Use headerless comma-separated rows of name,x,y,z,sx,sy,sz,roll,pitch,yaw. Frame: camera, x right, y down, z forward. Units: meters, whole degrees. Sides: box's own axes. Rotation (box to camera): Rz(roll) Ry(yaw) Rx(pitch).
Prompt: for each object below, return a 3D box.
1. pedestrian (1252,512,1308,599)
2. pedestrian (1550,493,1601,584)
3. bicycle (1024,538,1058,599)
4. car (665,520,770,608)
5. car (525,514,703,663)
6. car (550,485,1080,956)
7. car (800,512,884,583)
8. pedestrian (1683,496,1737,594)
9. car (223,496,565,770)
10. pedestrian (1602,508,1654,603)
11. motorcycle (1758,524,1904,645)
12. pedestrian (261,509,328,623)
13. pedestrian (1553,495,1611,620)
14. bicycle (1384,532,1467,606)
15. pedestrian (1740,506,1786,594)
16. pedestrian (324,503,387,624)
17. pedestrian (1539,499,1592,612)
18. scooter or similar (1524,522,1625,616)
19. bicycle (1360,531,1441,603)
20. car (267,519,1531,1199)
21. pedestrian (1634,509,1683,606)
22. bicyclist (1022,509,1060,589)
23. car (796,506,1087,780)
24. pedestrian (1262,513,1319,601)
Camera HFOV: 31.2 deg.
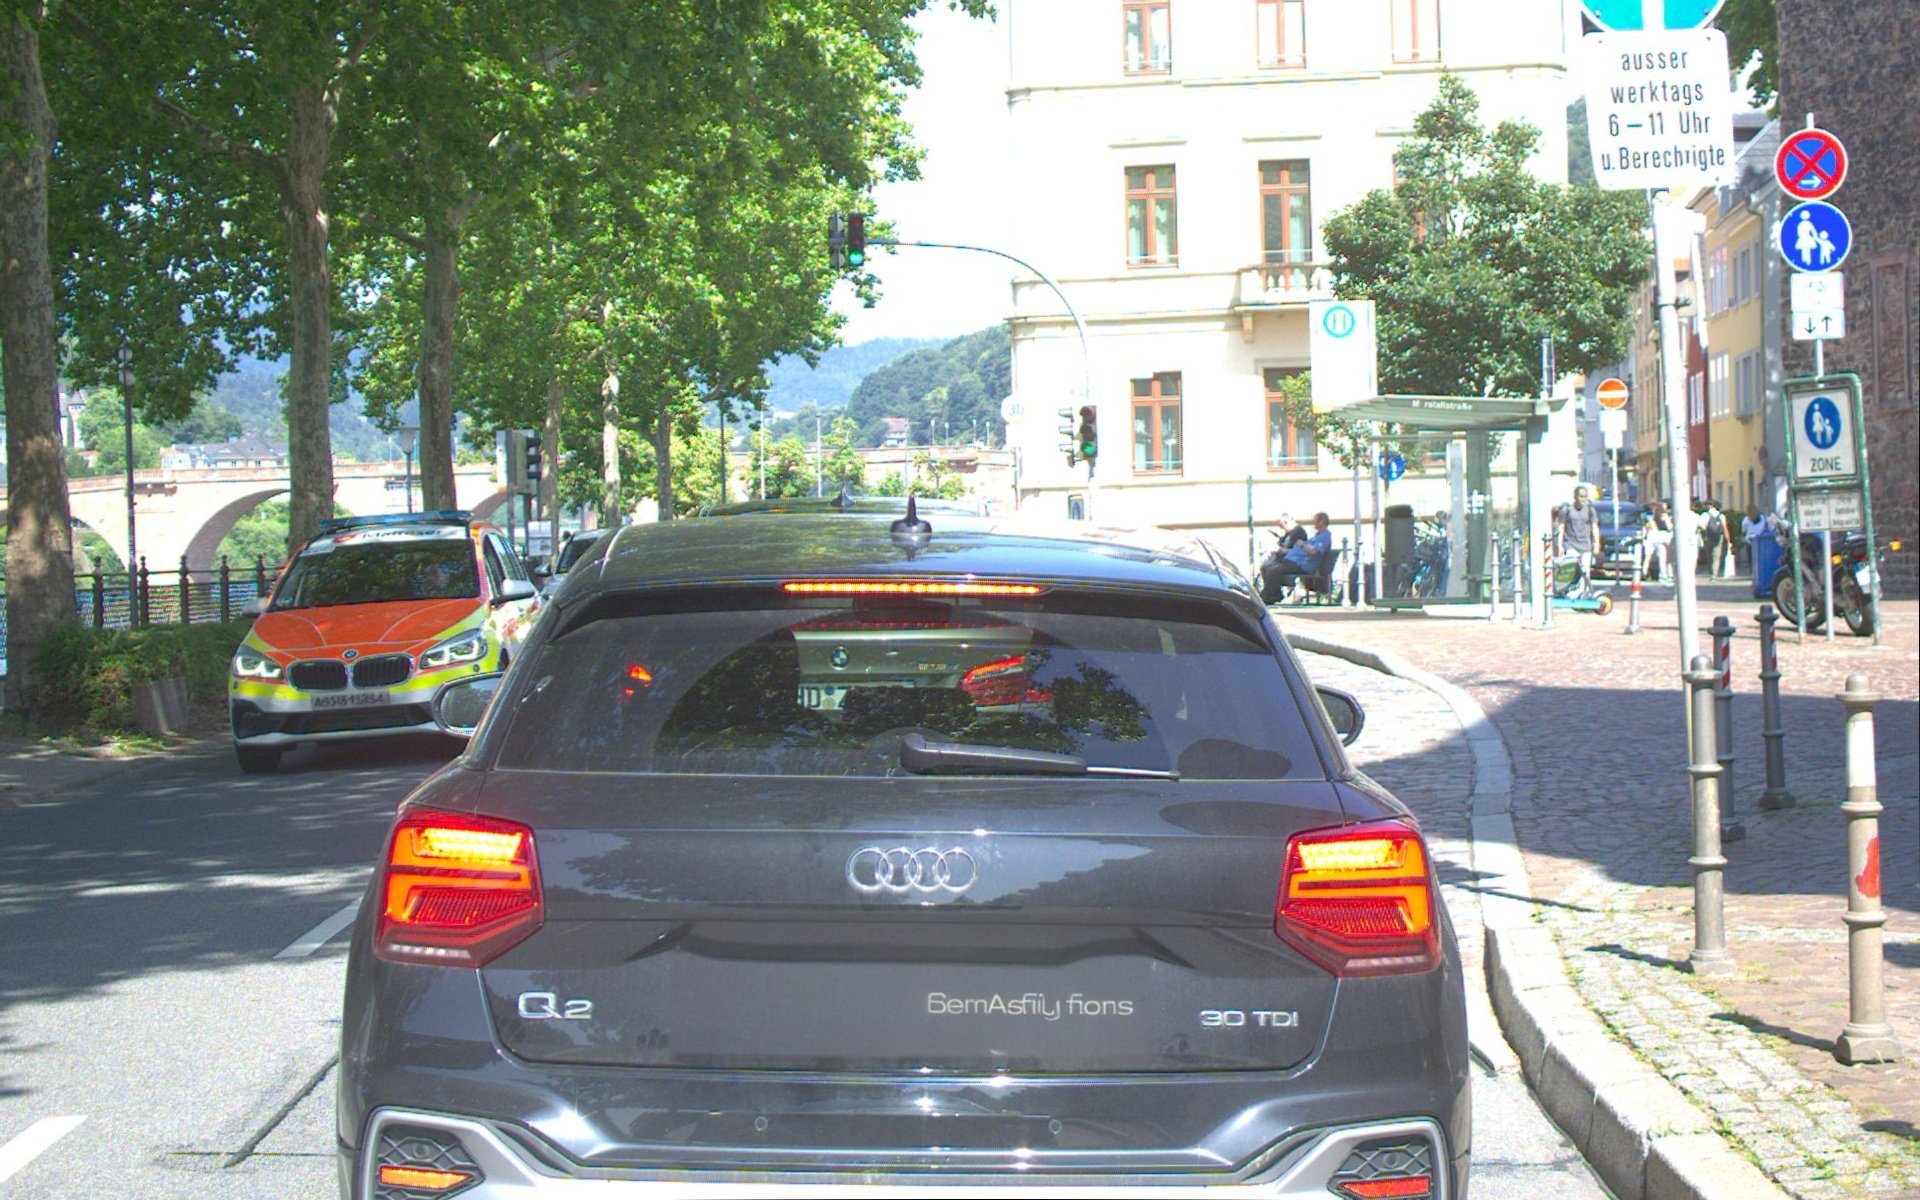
pedestrian,4.538,-0.633,48.828,0.663,1.227,0.641,1,0,-6
pedestrian,11.224,-1.120,62.660,0.776,1.616,0.645,-2,1,2
bicycle,1.466,-0.578,62.412,0.437,1.082,1.677,1,0,-5
car,-4.833,-0.746,68.843,1.738,1.566,4.092,-4,1,0
car,-4.205,-0.175,42.318,1.769,1.654,4.000,-3,1,-1
car,-0.517,0.376,13.478,1.793,1.589,3.399,1,1,-1
car,-3.089,-1.377,90.515,1.993,1.800,4.000,1,0,1
pedestrian,15.556,-1.137,71.287,0.940,2.007,0.807,1,0,2
car,-3.871,0.165,24.160,1.673,1.654,4.223,-4,1,-1
pedestrian,14.342,-0.951,73.833,0.944,2.007,0.807,1,0,0
motorcycle,7.602,-0.158,30.126,0.566,1.009,2.490,-1,1,-2
pedestrian,-10.620,-0.538,54.875,0.911,1.805,0.585,1,0,4
pedestrian,9.517,-0.651,52.627,0.747,1.884,0.752,1,0,2
bicycle,6.621,-0.441,48.936,1.201,1.031,0.179,1,0,-19
pedestrian,15.186,-0.947,65.006,0.691,1.607,0.890,-2,1,20
pedestrian,-10.141,-0.609,57.666,0.911,2.007,0.585,1,0,4
pedestrian,7.509,-0.551,42.643,0.557,1.380,0.588,1,0,2
scooter or similar,7.040,-0.354,39.407,1.088,1.062,0.323,1,0,-2
bicycle,6.351,-0.473,49.559,1.184,1.012,0.179,1,0,-19
car,-0.111,0.613,6.604,1.743,1.504,3.647,1,1,-1
pedestrian,14.590,-0.894,71.789,0.839,2.007,0.738,1,0,0
bicyclist,1.474,-0.923,62.384,0.605,1.445,0.591,1,0,-5
car,-0.130,0.214,22.101,1.710,1.603,3.655,0,1,-1
pedestrian,4.621,-0.601,48.089,0.663,1.207,0.641,1,0,-6
